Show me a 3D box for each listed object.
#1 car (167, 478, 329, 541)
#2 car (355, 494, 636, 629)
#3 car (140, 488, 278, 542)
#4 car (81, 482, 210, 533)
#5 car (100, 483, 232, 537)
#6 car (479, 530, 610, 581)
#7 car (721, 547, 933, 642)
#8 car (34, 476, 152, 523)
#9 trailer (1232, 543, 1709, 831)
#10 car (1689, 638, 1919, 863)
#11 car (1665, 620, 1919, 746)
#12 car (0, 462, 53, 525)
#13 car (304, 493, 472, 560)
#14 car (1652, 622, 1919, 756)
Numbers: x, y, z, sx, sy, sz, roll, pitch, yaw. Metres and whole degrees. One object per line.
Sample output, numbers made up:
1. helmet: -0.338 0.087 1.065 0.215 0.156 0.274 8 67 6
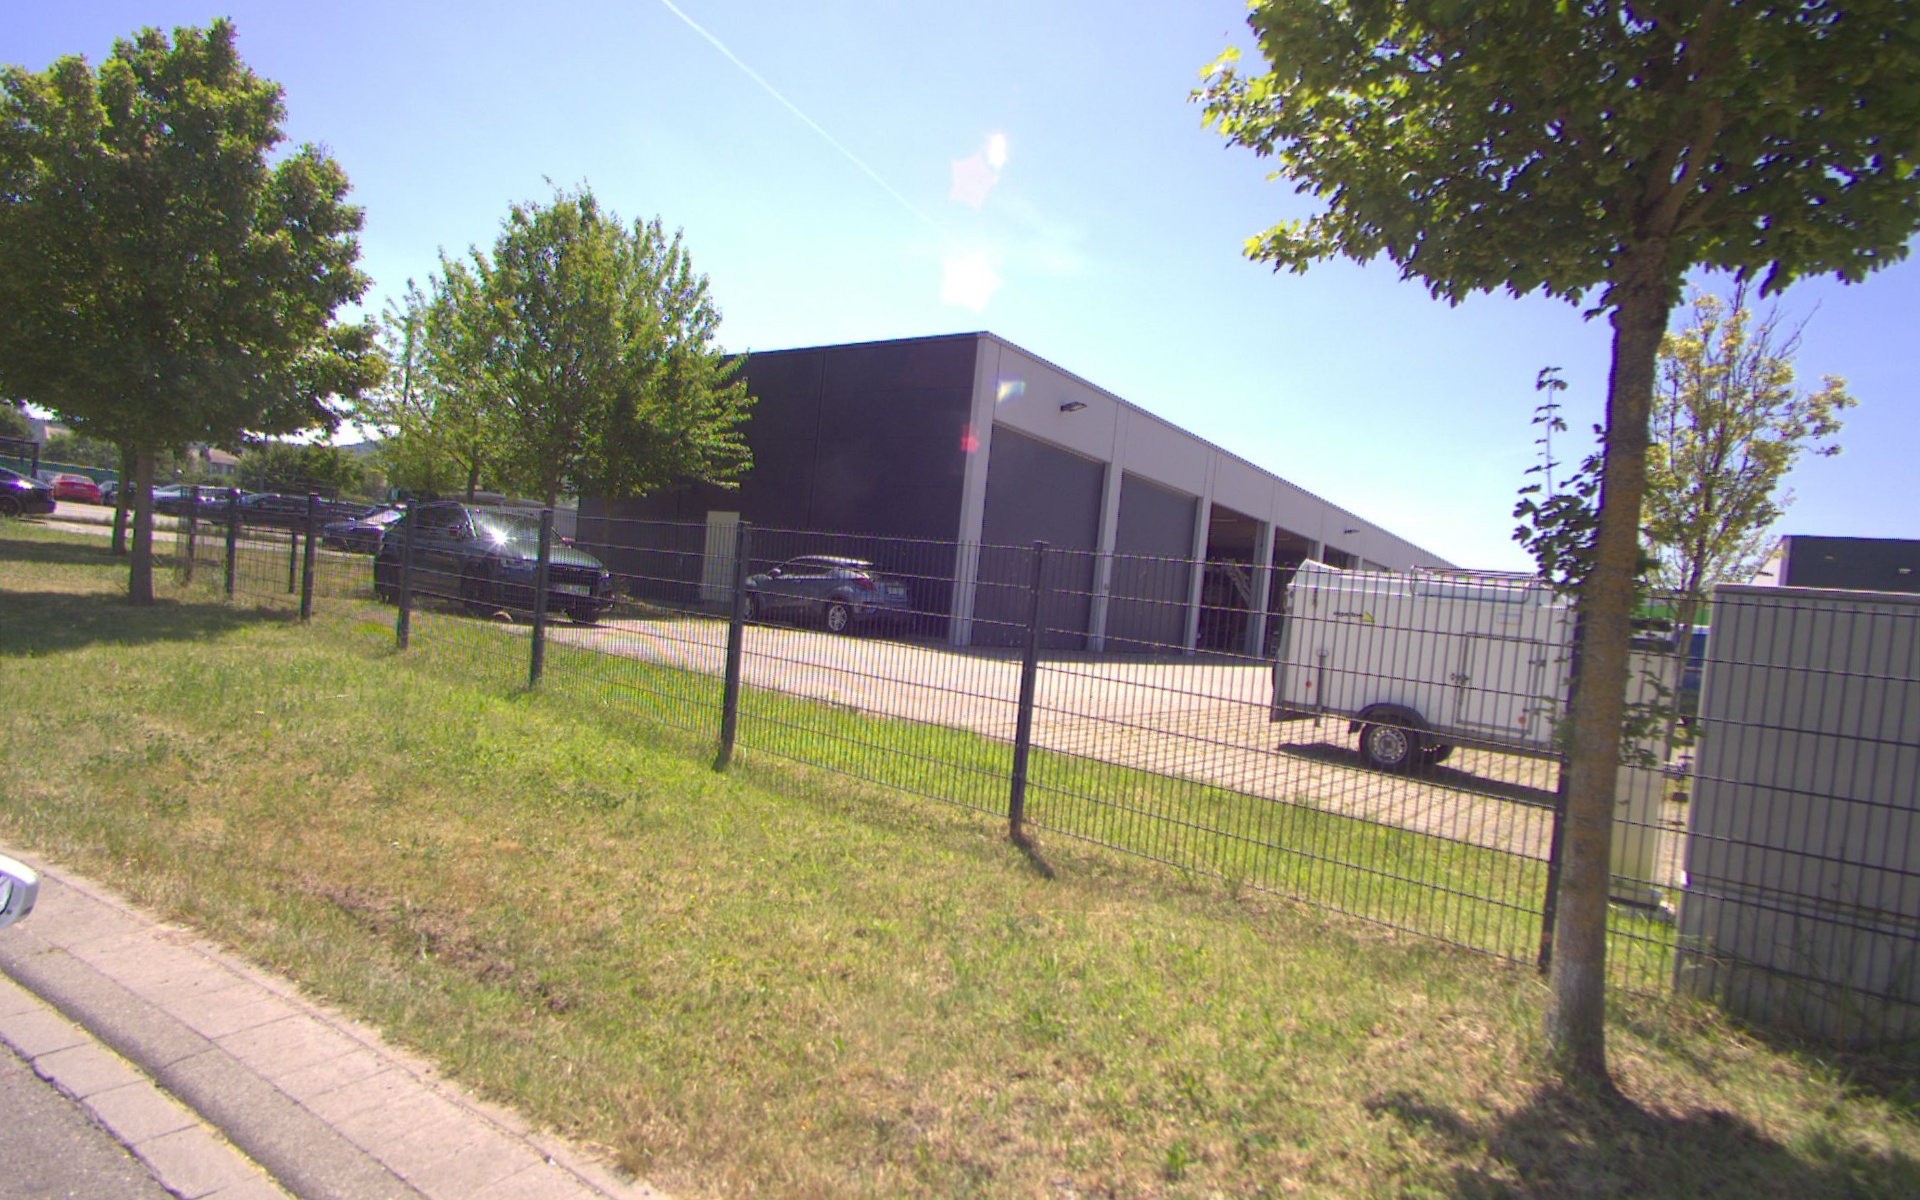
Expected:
1. car: -26.562 -3.330 37.672 1.967 1.710 4.466 7 1 31
2. car: -6.817 -0.590 14.595 4.217 1.622 1.774 5 0 36
3. car: -30.347 -3.419 40.749 2.079 1.576 3.986 7 1 35
4. car: -36.523 -4.114 45.199 1.967 1.710 3.990 7 1 31
5. car: -34.142 -3.851 43.346 1.967 1.710 3.988 7 1 33
6. car: -15.490 -1.649 37.653 1.753 1.375 4.155 8 2 37
7. car: -2.776 -0.136 20.620 4.108 1.586 1.774 5 0 36
8. car: -43.247 -5.007 50.280 1.967 1.710 3.990 7 1 31
9. trailer: 4.892 0.701 9.840 3.681 2.024 1.848 8 1 38
10. car: 8.244 1.222 7.219 4.785 1.517 1.848 3 -2 38
11. car: 20.056 1.916 23.595 5.592 2.486 2.190 3 -2 35
12. car: -24.896 -2.814 24.016 1.753 1.419 4.553 8 2 38
13. car: -18.679 -2.373 33.017 1.753 1.587 4.388 8 2 37
14. car: 18.184 1.855 21.209 5.743 2.253 2.136 5 1 36
